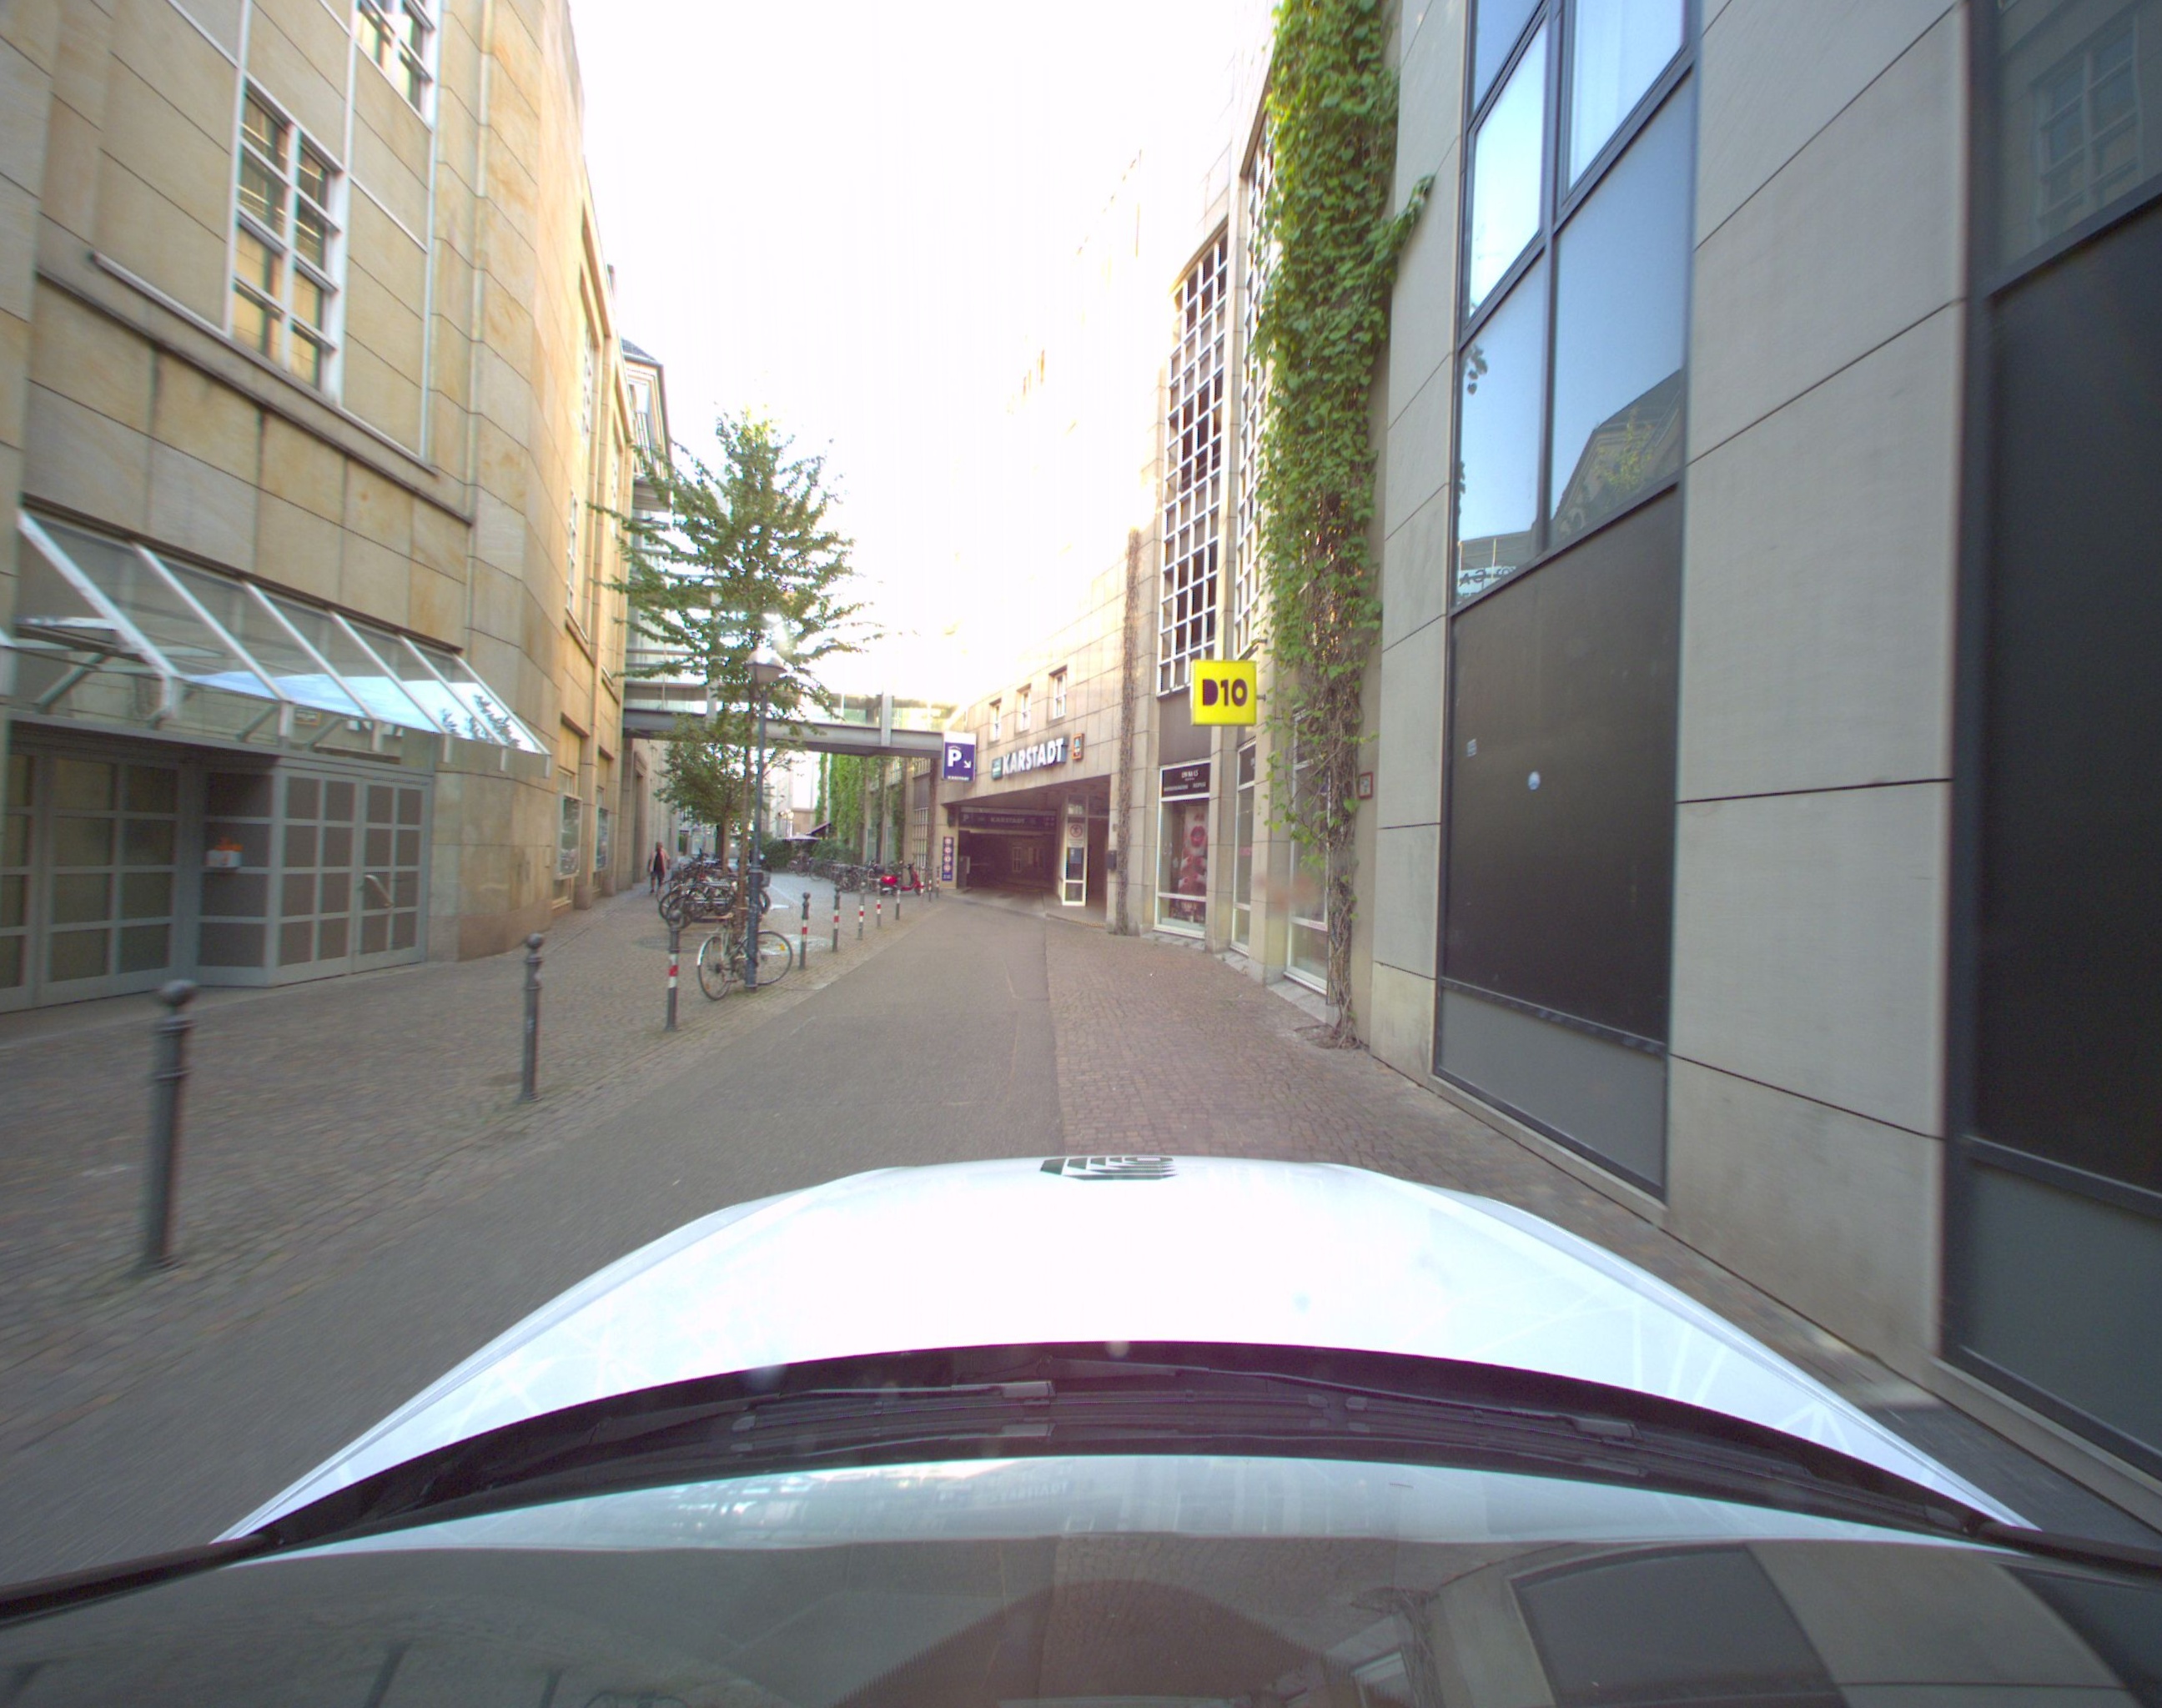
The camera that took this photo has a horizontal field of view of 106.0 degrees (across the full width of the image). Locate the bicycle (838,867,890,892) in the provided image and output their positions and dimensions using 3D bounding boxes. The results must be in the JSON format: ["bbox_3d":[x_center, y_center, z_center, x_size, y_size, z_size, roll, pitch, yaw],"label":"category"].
[{"bbox_3d":[-7.988,0.945,30.041,1.781,0.904,0.460,1,0,-25],"label":"bicycle"}]

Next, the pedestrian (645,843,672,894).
[{"bbox_3d":[-13.245,0.444,25.519,0.701,1.582,0.713,1,0,-26],"label":"pedestrian"}]

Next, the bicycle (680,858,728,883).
[{"bbox_3d":[-15.775,0.701,34.069,1.789,1.019,0.477,1,0,-27],"label":"bicycle"}]

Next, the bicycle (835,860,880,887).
[{"bbox_3d":[-9.453,0.823,34.433,1.781,1.114,0.538,1,0,-25],"label":"bicycle"}]

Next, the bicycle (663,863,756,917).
[{"bbox_3d":[-8.412,0.805,18.478,1.882,1.177,0.529,1,0,-27],"label":"bicycle"}]

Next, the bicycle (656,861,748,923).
[{"bbox_3d":[-7.738,0.761,16.679,1.662,1.231,0.529,1,0,-27],"label":"bicycle"}]

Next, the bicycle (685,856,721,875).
[{"bbox_3d":[-22.377,0.686,48.176,1.914,1.112,0.477,1,0,-27],"label":"bicycle"}]

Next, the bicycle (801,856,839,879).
[{"bbox_3d":[-13.311,0.694,41.512,1.781,1.114,0.538,1,0,-25],"label":"bicycle"}]

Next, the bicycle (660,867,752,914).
[{"bbox_3d":[-8.725,0.833,18.985,1.904,1.052,0.529,1,0,-27],"label":"bicycle"}]

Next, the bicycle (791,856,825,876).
[{"bbox_3d":[-15.197,0.677,45.348,1.780,1.114,0.539,1,0,-22],"label":"bicycle"}]

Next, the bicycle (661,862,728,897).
[{"bbox_3d":[-11.829,0.774,24.970,1.834,1.043,0.529,1,0,-27],"label":"bicycle"}]

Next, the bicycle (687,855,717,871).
[{"bbox_3d":[-26.683,0.604,57.348,1.915,1.112,0.477,1,0,-28],"label":"bicycle"}]

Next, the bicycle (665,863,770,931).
[{"bbox_3d":[-6.887,0.797,15.468,1.775,1.231,0.529,1,0,-27],"label":"bicycle"}]

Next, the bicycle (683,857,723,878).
[{"bbox_3d":[-20.509,0.727,44.196,1.914,1.112,0.477,1,0,-27],"label":"bicycle"}]

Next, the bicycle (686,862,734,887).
[{"bbox_3d":[-15.150,0.826,33.278,1.789,1.019,0.477,1,0,-27],"label":"bicycle"}]

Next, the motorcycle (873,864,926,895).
[{"bbox_3d":[-6.166,0.868,27.702,1.670,1.050,0.460,1,0,-25],"label":"motorcycle"}]

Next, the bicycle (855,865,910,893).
[{"bbox_3d":[-7.138,0.894,29.255,1.856,0.982,0.460,1,0,-25],"label":"bicycle"}]

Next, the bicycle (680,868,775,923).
[{"bbox_3d":[-7.625,0.875,17.584,1.846,1.122,0.529,1,0,-27],"label":"bicycle"}]

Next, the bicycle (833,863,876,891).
[{"bbox_3d":[-8.885,0.893,31.902,1.546,1.049,0.571,1,0,-24],"label":"bicycle"}]

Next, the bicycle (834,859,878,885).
[{"bbox_3d":[-9.783,0.791,35.482,1.781,1.114,0.538,1,0,-25],"label":"bicycle"}]

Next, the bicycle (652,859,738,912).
[{"bbox_3d":[-9.283,0.740,19.617,1.843,1.225,0.529,1,0,-27],"label":"bicycle"}]

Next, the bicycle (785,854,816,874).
[{"bbox_3d":[-17.346,0.618,50.378,1.781,1.190,0.581,1,0,-25],"label":"bicycle"}]

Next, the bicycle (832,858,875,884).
[{"bbox_3d":[-10.221,0.773,36.652,1.781,1.114,0.538,1,0,-25],"label":"bicycle"}]

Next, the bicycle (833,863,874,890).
[{"bbox_3d":[-9.280,0.913,33.270,1.546,1.049,0.571,1,0,-24],"label":"bicycle"}]

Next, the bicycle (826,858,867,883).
[{"bbox_3d":[-10.829,0.749,37.638,1.781,1.114,0.538,1,0,-25],"label":"bicycle"}]

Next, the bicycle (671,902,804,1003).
[{"bbox_3d":[-3.839,1.061,9.247,0.490,0.939,1.664,3,0,11],"label":"bicycle"}]

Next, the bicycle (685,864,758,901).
[{"bbox_3d":[-10.278,0.809,23.330,1.886,1.043,0.529,1,0,-27],"label":"bicycle"}]

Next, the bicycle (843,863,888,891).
[{"bbox_3d":[-8.193,0.886,30.977,1.546,1.049,0.571,1,0,-24],"label":"bicycle"}]

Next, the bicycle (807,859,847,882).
[{"bbox_3d":[-12.414,0.797,39.774,1.781,1.114,0.538,1,0,-25],"label":"bicycle"}]
